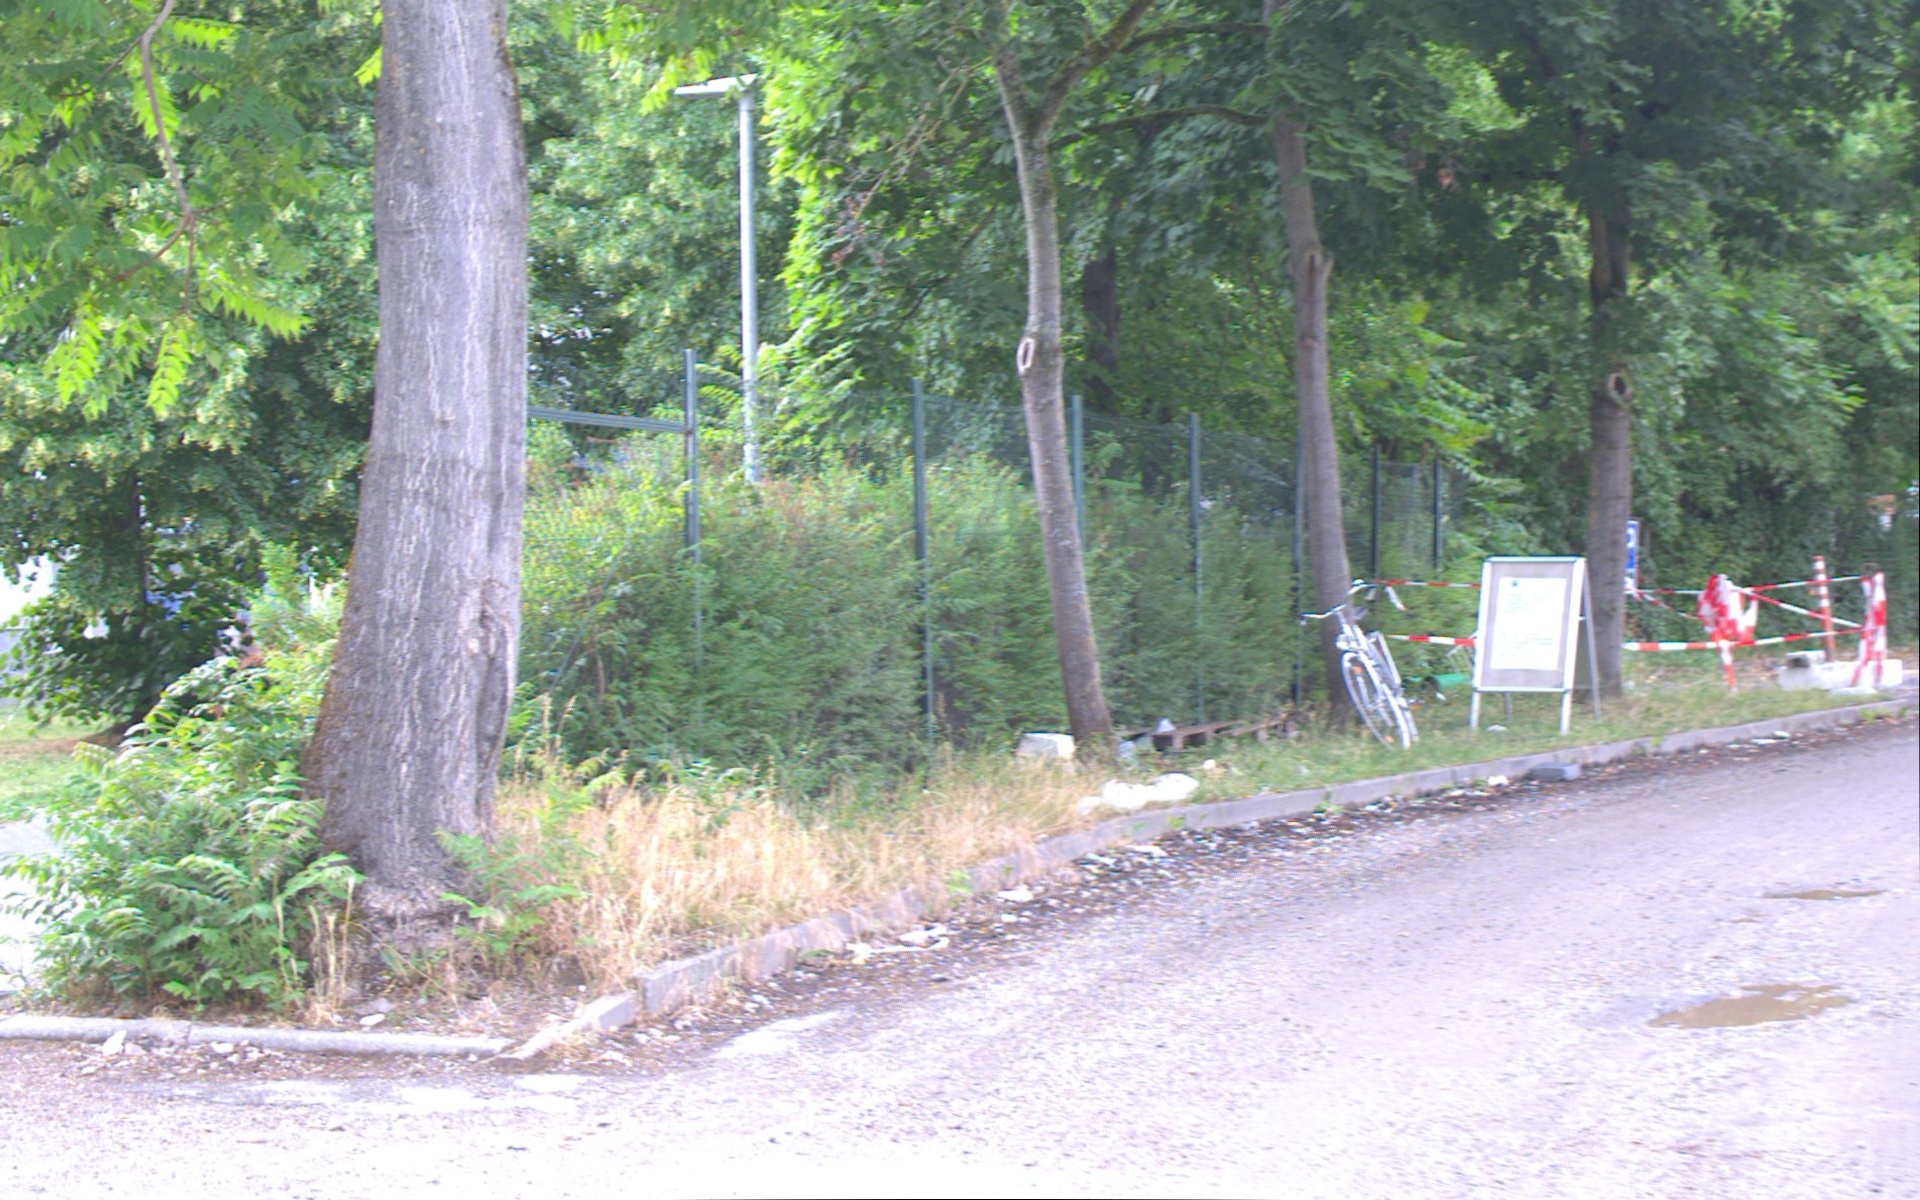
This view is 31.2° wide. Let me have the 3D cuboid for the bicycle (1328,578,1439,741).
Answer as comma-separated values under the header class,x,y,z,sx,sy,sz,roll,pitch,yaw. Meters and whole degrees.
class,x,y,z,sx,sy,sz,roll,pitch,yaw
bicycle,2.544,0.341,20.582,0.419,0.902,1.153,5,2,16
